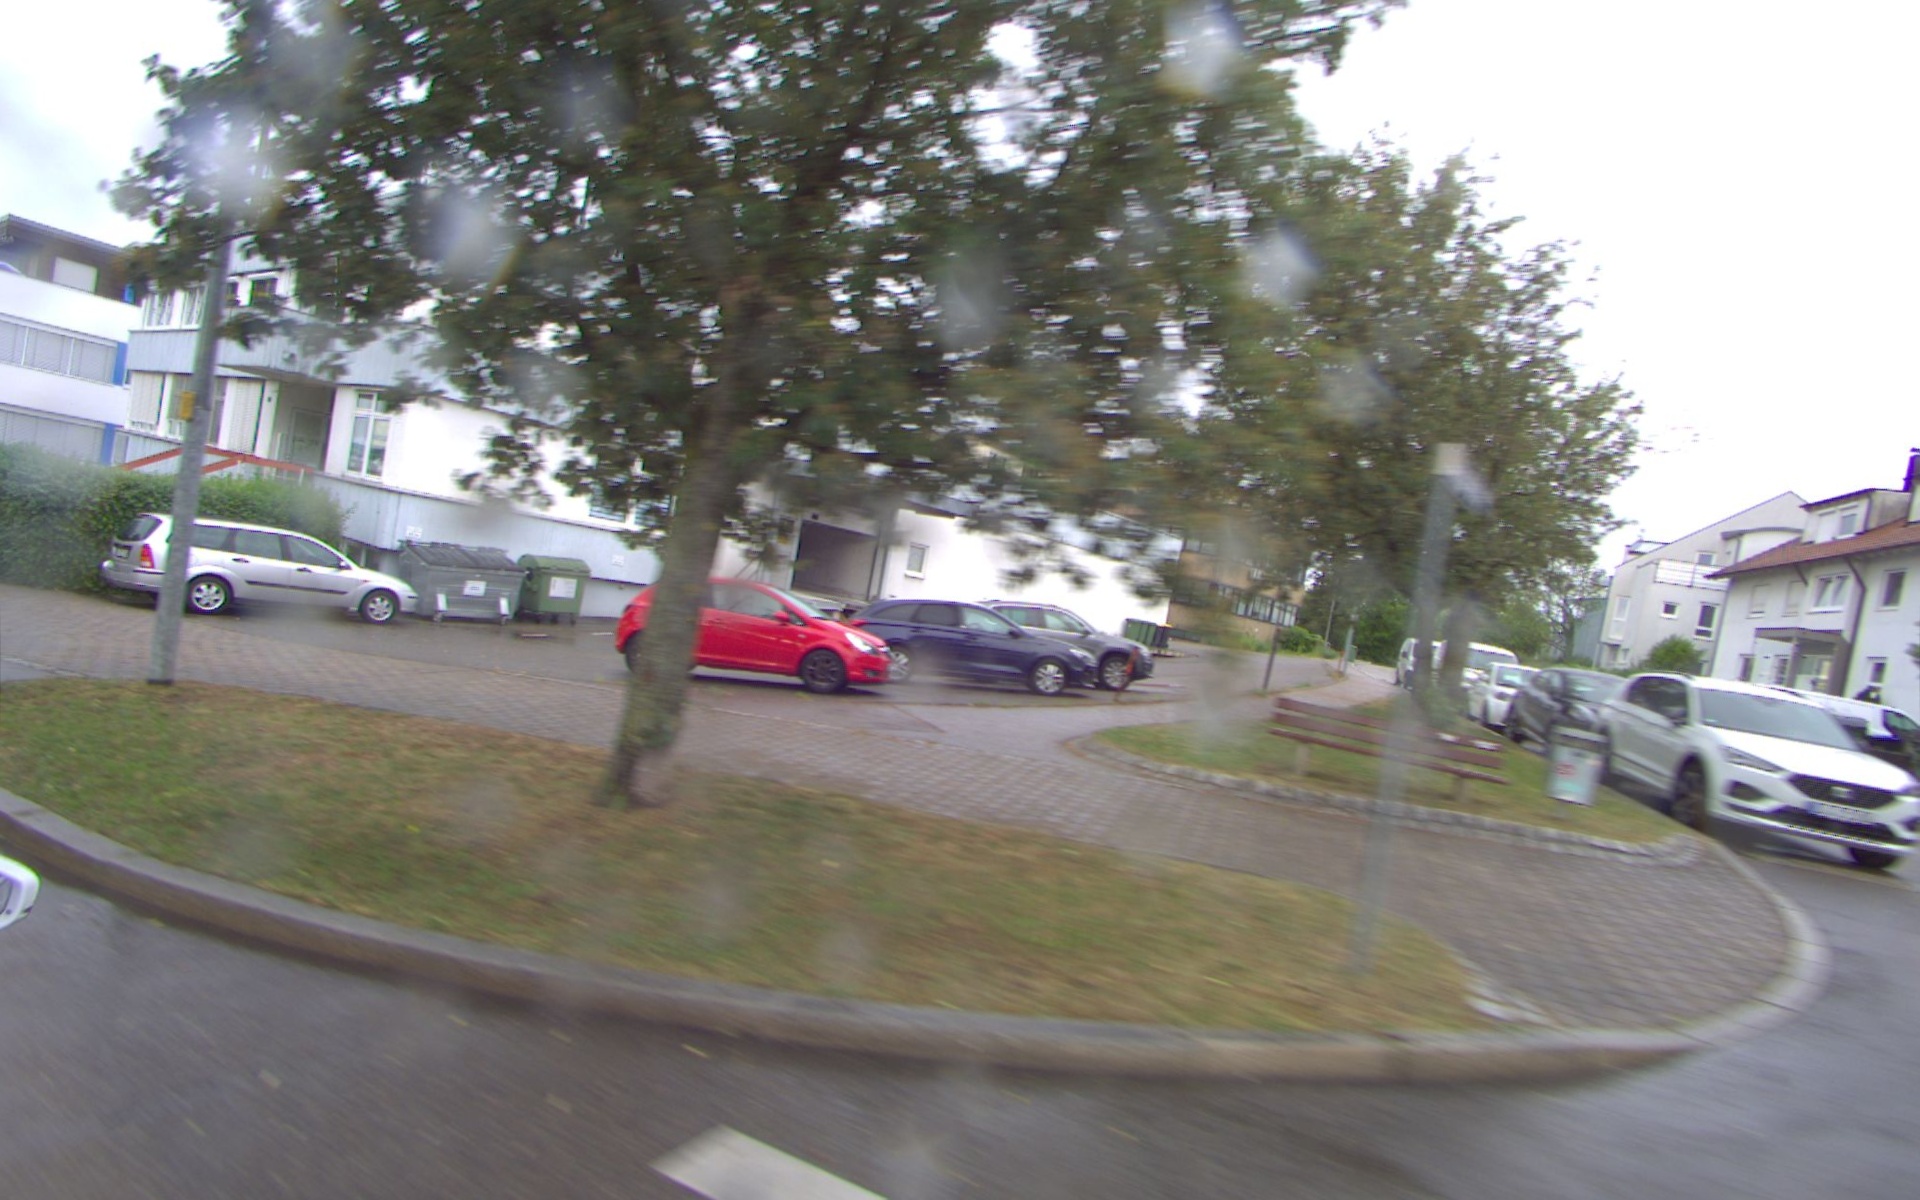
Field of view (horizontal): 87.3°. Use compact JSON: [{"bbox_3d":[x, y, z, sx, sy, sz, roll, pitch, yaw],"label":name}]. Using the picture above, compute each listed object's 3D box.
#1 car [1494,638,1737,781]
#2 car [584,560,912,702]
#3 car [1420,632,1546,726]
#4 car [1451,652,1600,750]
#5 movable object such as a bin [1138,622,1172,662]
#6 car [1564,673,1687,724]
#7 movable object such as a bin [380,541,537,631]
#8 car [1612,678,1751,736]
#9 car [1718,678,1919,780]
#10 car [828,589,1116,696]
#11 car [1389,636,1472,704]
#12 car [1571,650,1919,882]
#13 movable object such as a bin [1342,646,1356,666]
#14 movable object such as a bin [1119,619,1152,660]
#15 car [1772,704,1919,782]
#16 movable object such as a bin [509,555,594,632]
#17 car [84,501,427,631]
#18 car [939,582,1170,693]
[{"bbox_3d":[10.462,1.667,16.470,1.918,1.753,4.023,9,0,14],"label":"car"},{"bbox_3d":[-2.959,0.441,14.696,4.244,1.604,1.859,5,-1,3],"label":"car"},{"bbox_3d":[13.589,2.023,26.419,1.895,1.951,4.425,9,0,17],"label":"car"},{"bbox_3d":[12.069,2.095,21.750,1.800,1.688,3.833,7,-1,16],"label":"car"},{"bbox_3d":[8.963,1.954,46.256,0.535,1.682,1.982,7,-1,38],"label":"movable object such as a bin"},{"bbox_3d":[28.456,4.187,43.158,3.870,1.513,1.829,7,1,16],"label":"car"},{"bbox_3d":[-10.211,-0.263,20.527,1.707,1.522,2.265,7,1,38],"label":"movable object such as a bin"},{"bbox_3d":[26.819,3.961,37.519,3.732,1.478,1.743,7,1,20],"label":"car"},{"bbox_3d":[23.678,3.471,27.610,3.925,2.039,2.000,7,1,17],"label":"car"},{"bbox_3d":[0.181,0.730,17.602,4.740,1.604,1.858,2,0,-2],"label":"car"},{"bbox_3d":[16.643,2.456,35.799,1.919,1.993,4.160,9,0,18],"label":"car"},{"bbox_3d":[9.022,1.669,11.665,1.910,1.837,4.714,7,1,15],"label":"car"},{"bbox_3d":[26.316,3.777,68.017,0.642,1.219,0.927,7,0,15],"label":"movable object such as a bin"},{"bbox_3d":[7.831,1.784,44.760,0.535,1.682,1.738,7,-1,38],"label":"movable object such as a bin"},{"bbox_3d":[22.900,3.631,25.077,3.614,1.434,1.722,7,1,16],"label":"car"},{"bbox_3d":[-9.056,-0.135,22.298,1.013,1.515,1.304,7,1,38],"label":"movable object such as a bin"},{"bbox_3d":[-11.734,-0.489,17.064,1.829,1.603,4.315,6,-1,35],"label":"car"},{"bbox_3d":[1.849,0.792,20.652,4.378,1.819,1.859,5,-2,-4],"label":"car"}]
